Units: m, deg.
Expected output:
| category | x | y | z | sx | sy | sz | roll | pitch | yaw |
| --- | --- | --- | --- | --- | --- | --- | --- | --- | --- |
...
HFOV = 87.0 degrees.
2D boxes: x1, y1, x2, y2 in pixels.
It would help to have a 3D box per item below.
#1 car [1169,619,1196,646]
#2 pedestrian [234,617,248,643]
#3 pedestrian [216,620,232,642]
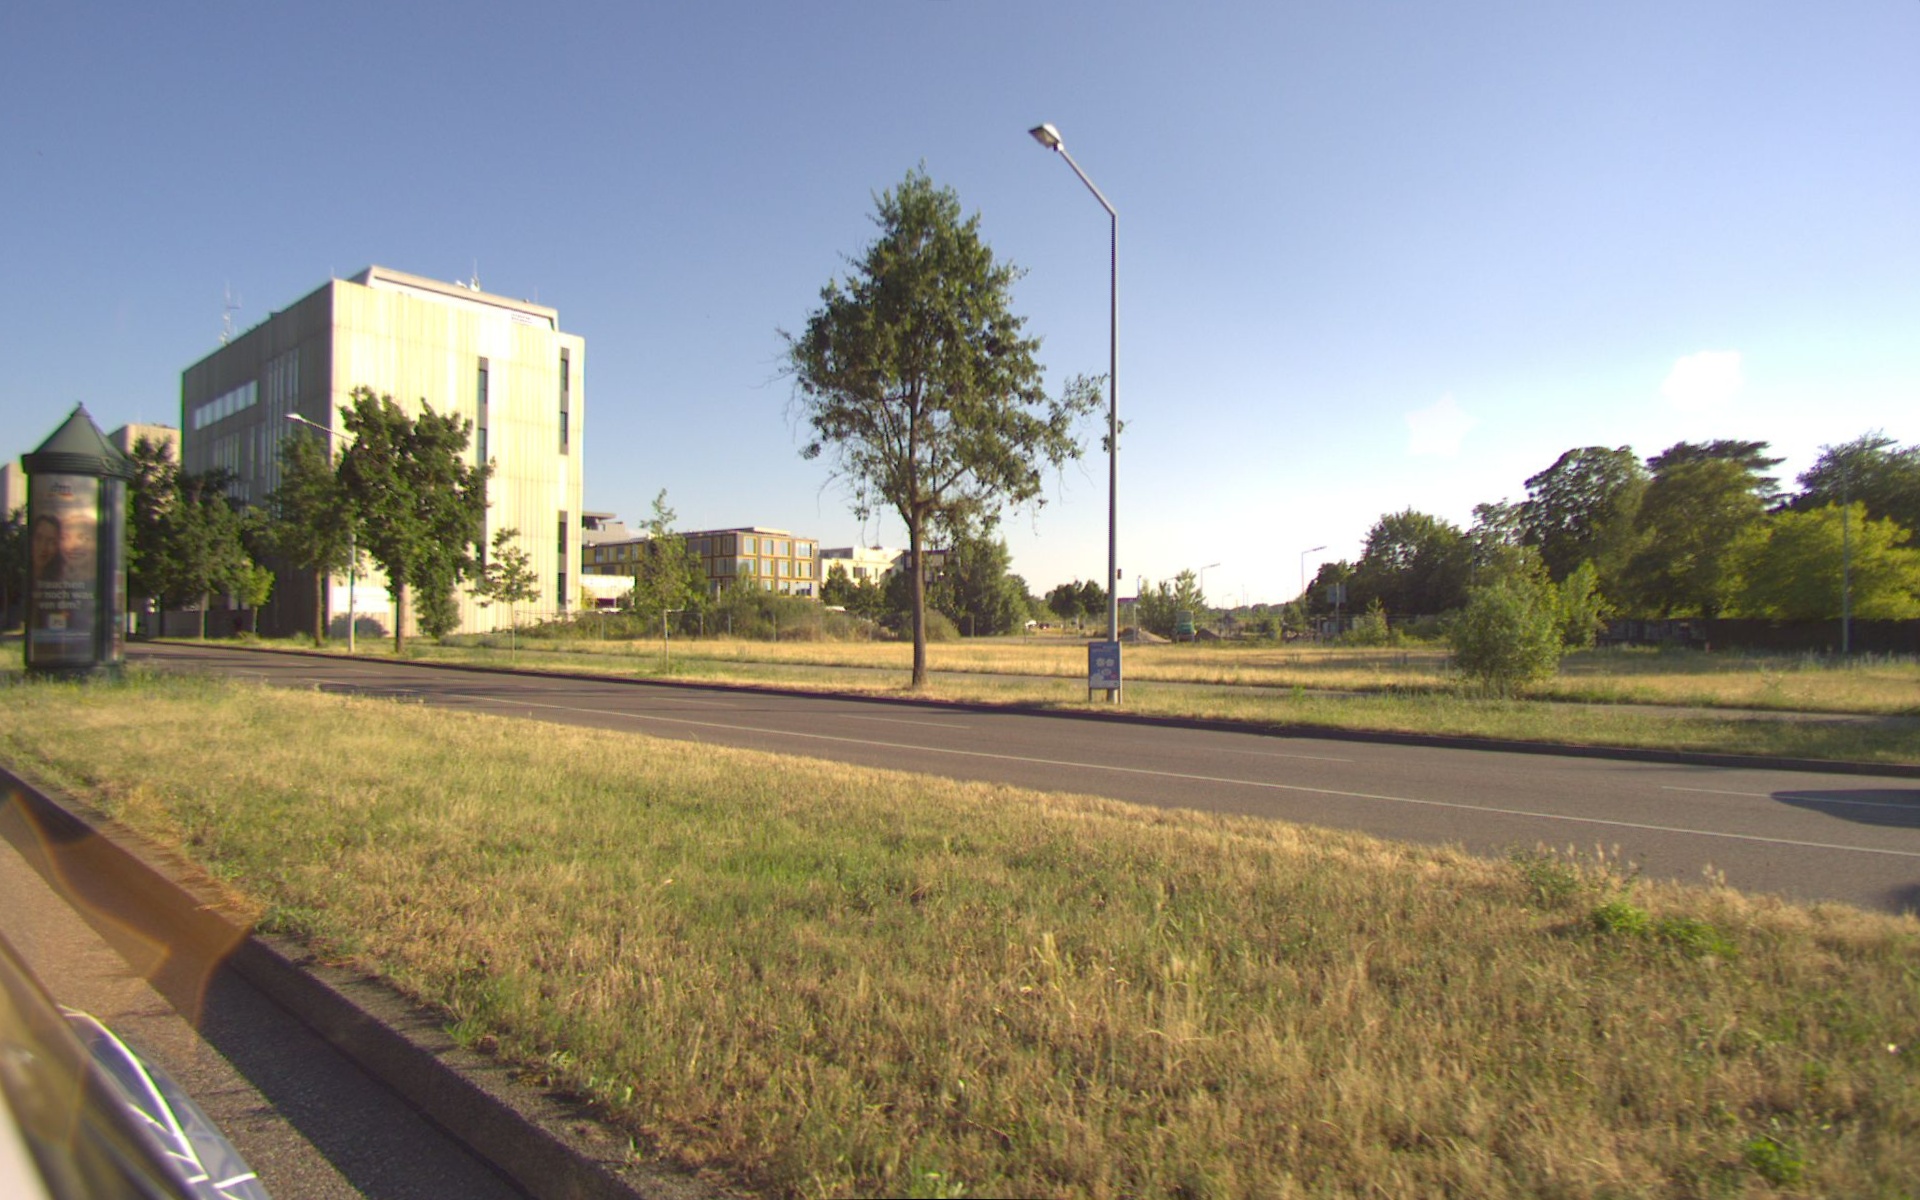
| category | x | y | z | sx | sy | sz | roll | pitch | yaw |
| --- | --- | --- | --- | --- | --- | --- | --- | --- | --- |
| car | 17.589 | 2.566 | 80.050 | 1.979 | 2.029 | 3.866 | 0 | -2 | 11 |
| pedestrian | -52.453 | 2.167 | 73.835 | 0.716 | 1.855 | 0.626 | -2 | -2 | 41 |
| pedestrian | -53.555 | 2.256 | 73.623 | 0.909 | 1.614 | 0.768 | -2 | -2 | 42 |
